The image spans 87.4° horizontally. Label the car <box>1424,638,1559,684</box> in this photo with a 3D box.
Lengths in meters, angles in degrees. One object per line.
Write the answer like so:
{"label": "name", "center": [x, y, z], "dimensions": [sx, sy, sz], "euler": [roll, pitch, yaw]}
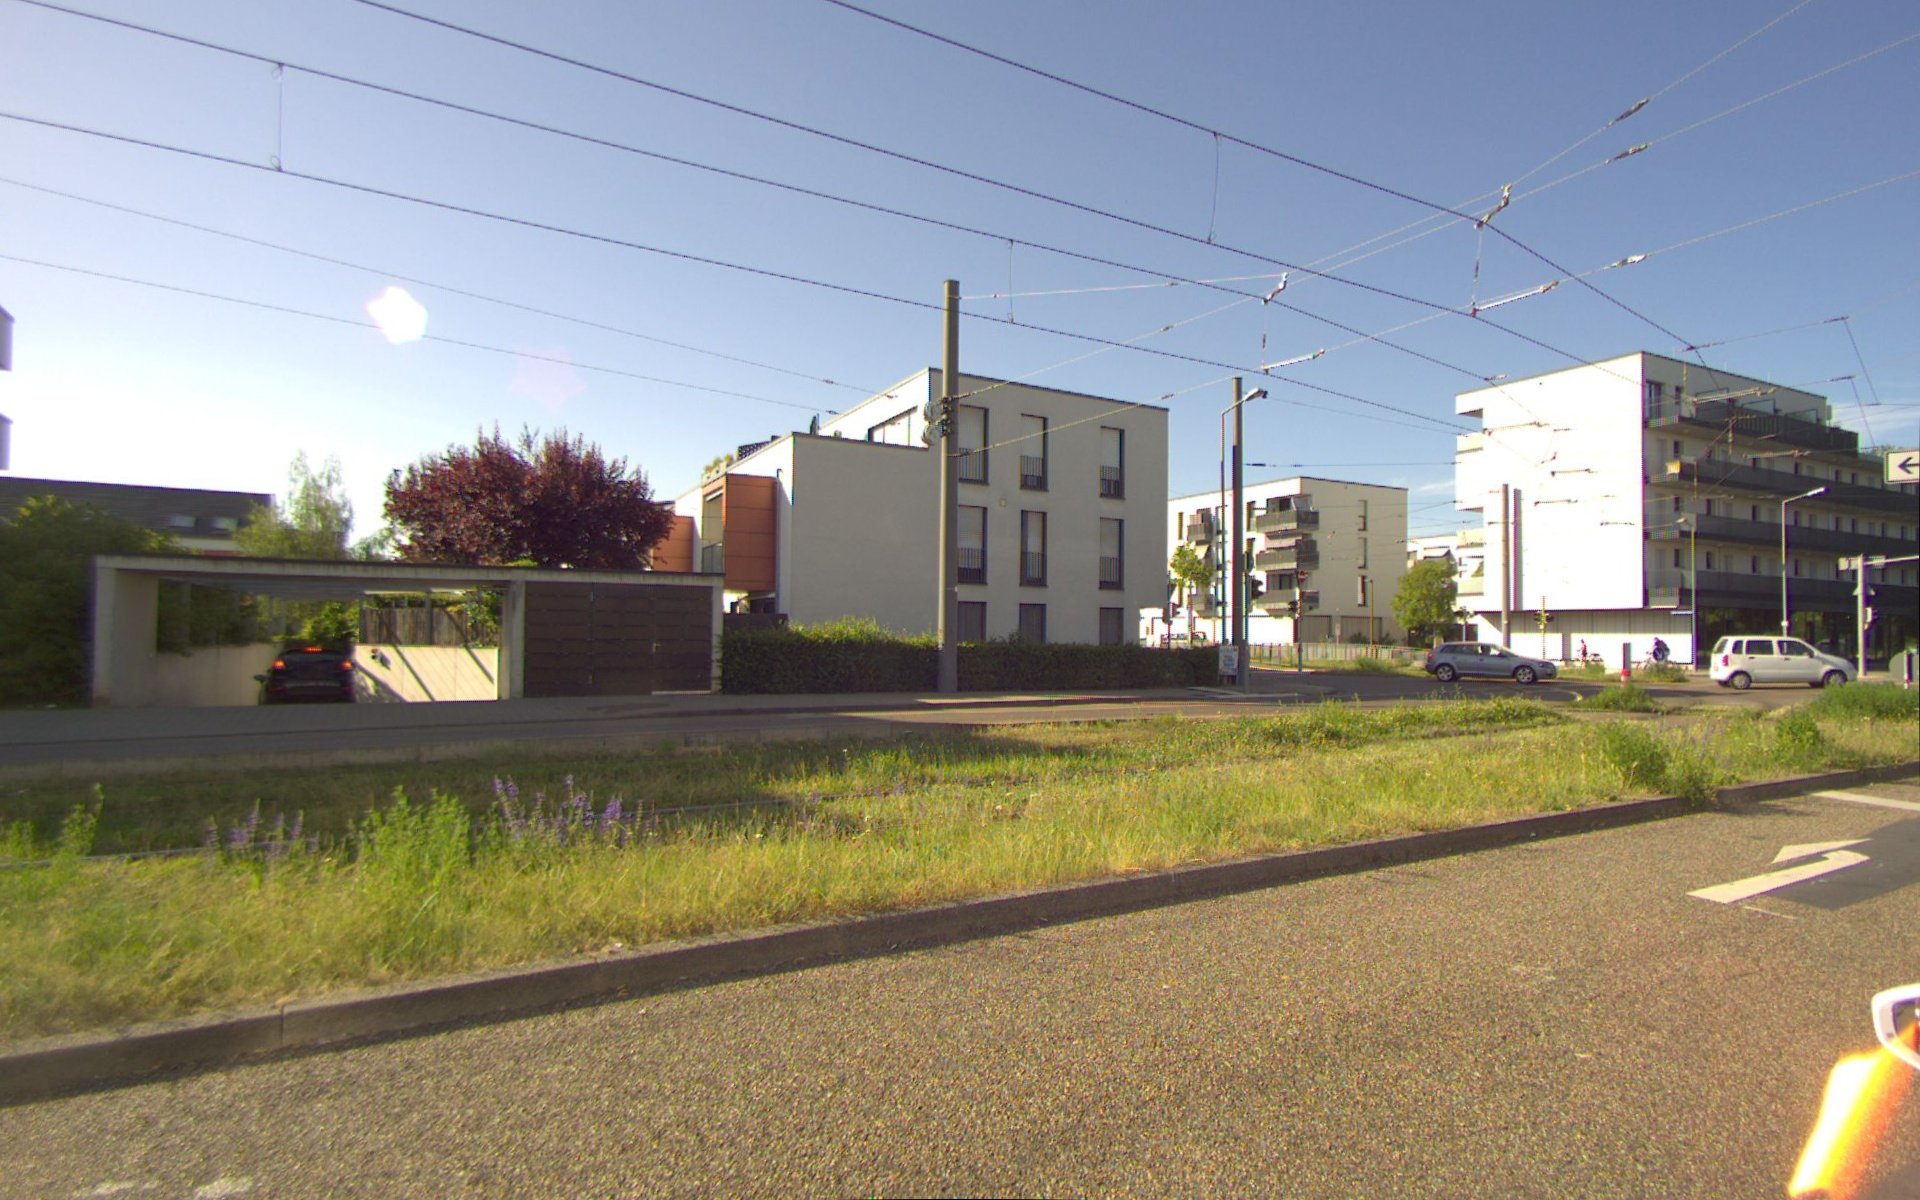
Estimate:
{"label": "car", "center": [19.061, 2.153, 36.106], "dimensions": [4.046, 1.505, 1.862], "euler": [-1, -2, 39]}

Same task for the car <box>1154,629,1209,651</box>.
{"label": "car", "center": [17.674, 3.181, 80.290], "dimensions": [1.974, 1.595, 4.309], "euler": [2, 0, -27]}

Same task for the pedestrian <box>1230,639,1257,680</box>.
{"label": "pedestrian", "center": [11.790, 2.458, 41.804], "dimensions": [0.763, 1.626, 0.738], "euler": [2, 0, 45]}

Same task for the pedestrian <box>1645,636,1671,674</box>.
{"label": "pedestrian", "center": [32.547, 2.559, 46.842], "dimensions": [0.614, 1.714, 0.807], "euler": [2, -2, -35]}

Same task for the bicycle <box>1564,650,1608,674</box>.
{"label": "bicycle", "center": [32.970, 3.248, 52.952], "dimensions": [1.834, 1.139, 0.818], "euler": [2, 0, 43]}

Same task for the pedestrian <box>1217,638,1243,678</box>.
{"label": "pedestrian", "center": [11.392, 2.449, 42.451], "dimensions": [0.763, 1.626, 0.738], "euler": [2, 0, 45]}

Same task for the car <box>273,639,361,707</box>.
{"label": "car", "center": [-14.795, 1.717, 23.108], "dimensions": [1.560, 1.344, 3.966], "euler": [2, -7, -33]}

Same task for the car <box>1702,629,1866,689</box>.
{"label": "car", "center": [25.812, 1.798, 31.617], "dimensions": [3.617, 1.743, 1.868], "euler": [0, -1, 25]}

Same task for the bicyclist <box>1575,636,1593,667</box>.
{"label": "bicyclist", "center": [32.945, 2.708, 53.000], "dimensions": [0.631, 1.635, 0.781], "euler": [2, 0, 42]}

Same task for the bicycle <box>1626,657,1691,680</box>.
{"label": "bicycle", "center": [32.544, 3.190, 46.835], "dimensions": [0.634, 1.015, 2.395], "euler": [2, -2, -34]}
